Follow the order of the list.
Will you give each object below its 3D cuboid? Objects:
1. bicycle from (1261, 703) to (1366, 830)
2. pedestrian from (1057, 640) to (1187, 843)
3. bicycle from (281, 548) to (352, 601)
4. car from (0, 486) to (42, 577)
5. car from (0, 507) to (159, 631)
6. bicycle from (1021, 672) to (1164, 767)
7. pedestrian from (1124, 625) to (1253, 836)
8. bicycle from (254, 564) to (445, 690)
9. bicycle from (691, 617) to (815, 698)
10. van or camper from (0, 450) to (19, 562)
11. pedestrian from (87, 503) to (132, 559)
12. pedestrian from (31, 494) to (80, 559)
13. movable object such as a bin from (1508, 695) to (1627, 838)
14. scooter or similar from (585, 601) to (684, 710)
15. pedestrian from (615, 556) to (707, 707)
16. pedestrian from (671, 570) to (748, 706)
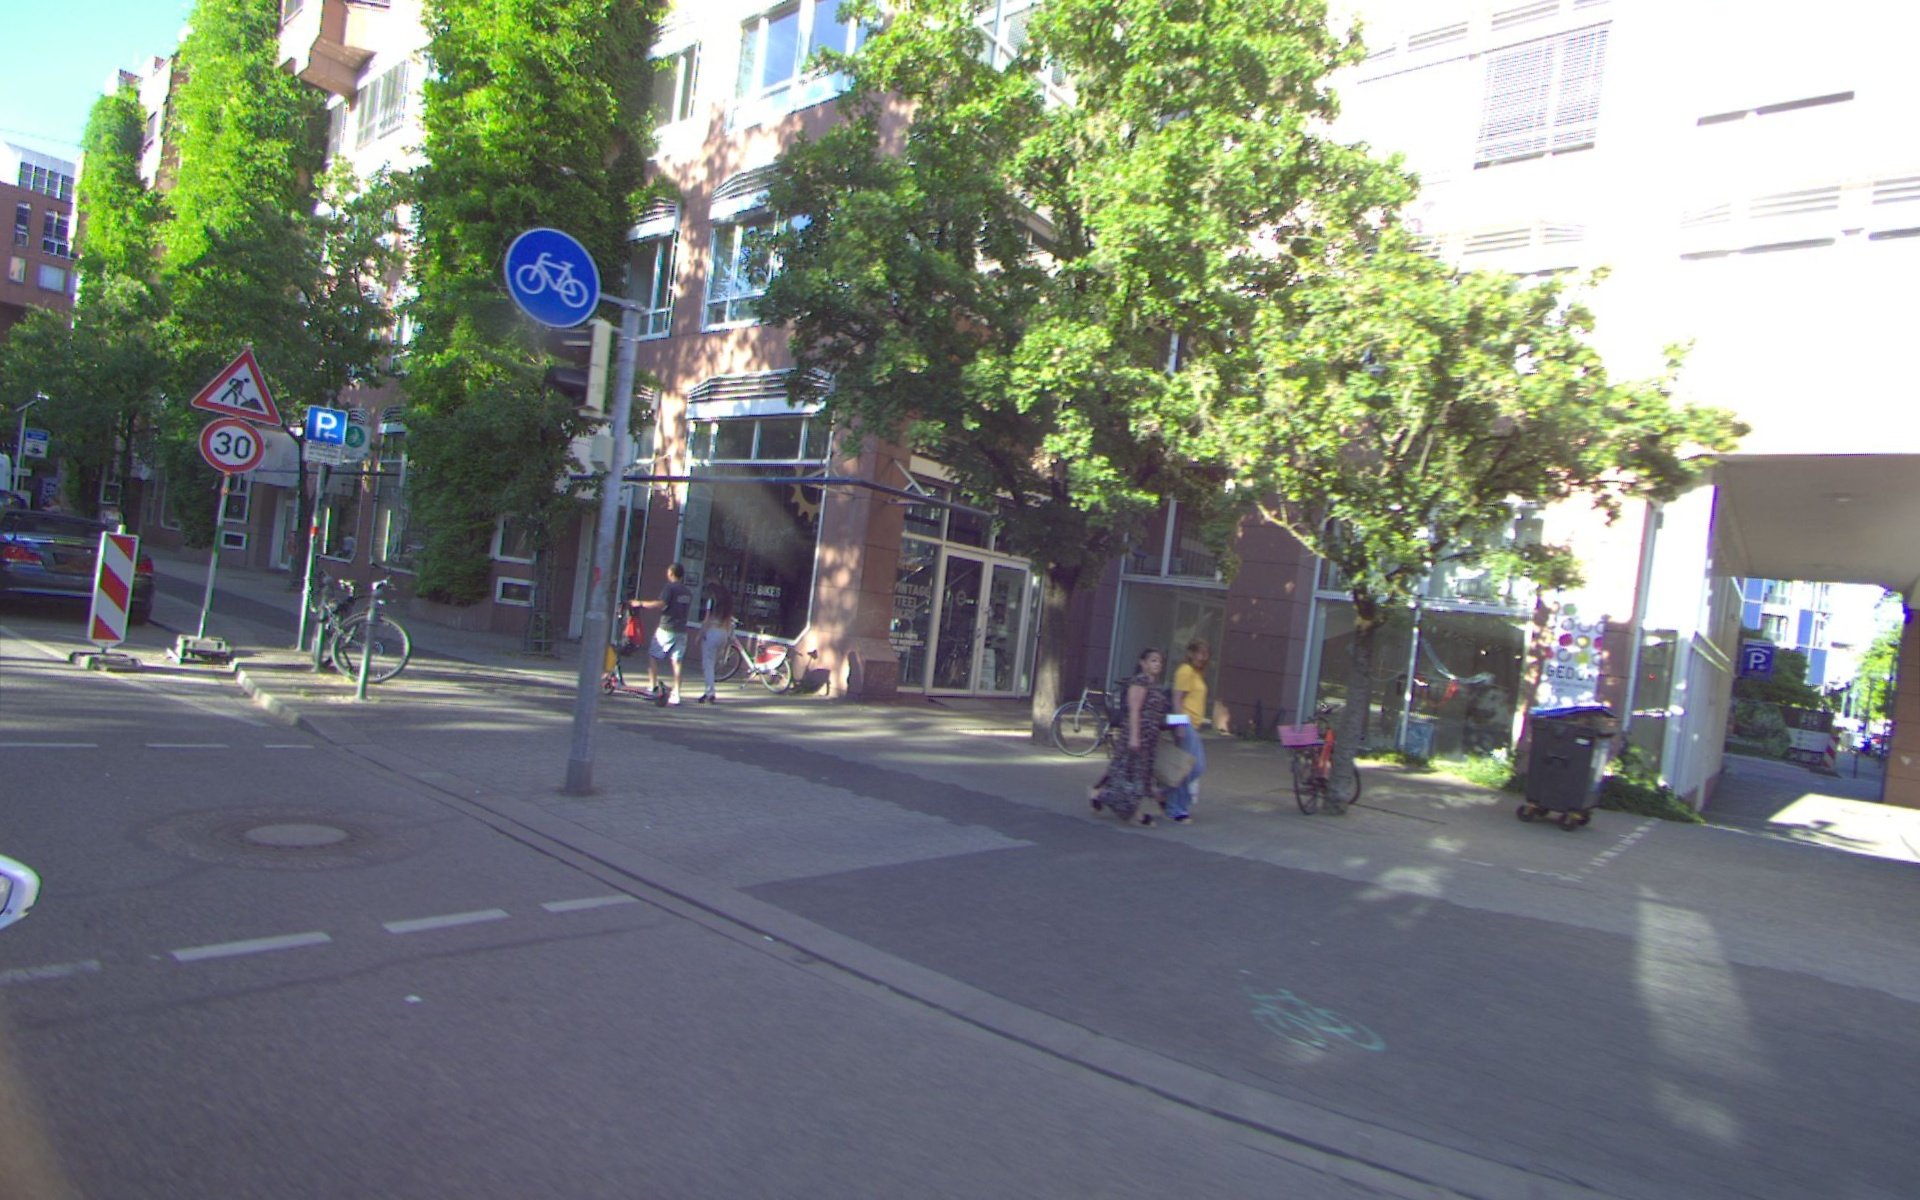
[{"bbox_3d":[3.974,1.816,11.248,0.568,1.242,1.568,8,0,35],"label":"bicycle"},{"bbox_3d":[1.423,1.208,8.798,0.736,1.598,0.645,8,1,33],"label":"pedestrian"},{"bbox_3d":[-15.596,-0.623,24.367,1.882,1.033,0.618,7,0,33],"label":"bicycle"},{"bbox_3d":[-19.793,-1.537,19.967,4.419,1.639,1.619,7,0,39],"label":"car"},{"bbox_3d":[-12.737,-0.519,13.893,4.247,1.318,1.620,7,0,38],"label":"car"},{"bbox_3d":[1.786,1.612,13.475,1.735,1.066,0.733,8,0,-33],"label":"bicycle"},{"bbox_3d":[2.100,1.166,9.234,0.755,1.755,0.701,8,1,33],"label":"pedestrian"},{"bbox_3d":[-6.454,0.281,10.638,1.720,1.066,0.739,8,0,21],"label":"bicycle"},{"bbox_3d":[-3.111,0.858,15.065,1.724,0.951,0.737,7,0,34],"label":"bicycle"},{"bbox_3d":[-24.957,-2.528,24.561,5.689,2.571,2.047,7,0,40],"label":"van or camper"},{"bbox_3d":[-24.166,-1.962,28.596,0.761,1.462,0.773,8,-1,-36],"label":"pedestrian"},{"bbox_3d":[-25.296,-2.052,28.143,0.538,1.665,0.763,7,0,32],"label":"pedestrian"},{"bbox_3d":[7.375,1.975,12.189,0.859,1.500,1.408,8,0,41],"label":"movable object such as a bin"},{"bbox_3d":[-4.024,0.670,12.407,1.230,1.172,0.394,7,1,36],"label":"scooter or similar"},{"bbox_3d":[-3.750,0.399,12.662,0.598,1.785,0.788,7,1,14],"label":"pedestrian"},{"bbox_3d":[-3.327,0.504,13.362,0.668,1.693,0.460,7,1,24],"label":"pedestrian"}]
